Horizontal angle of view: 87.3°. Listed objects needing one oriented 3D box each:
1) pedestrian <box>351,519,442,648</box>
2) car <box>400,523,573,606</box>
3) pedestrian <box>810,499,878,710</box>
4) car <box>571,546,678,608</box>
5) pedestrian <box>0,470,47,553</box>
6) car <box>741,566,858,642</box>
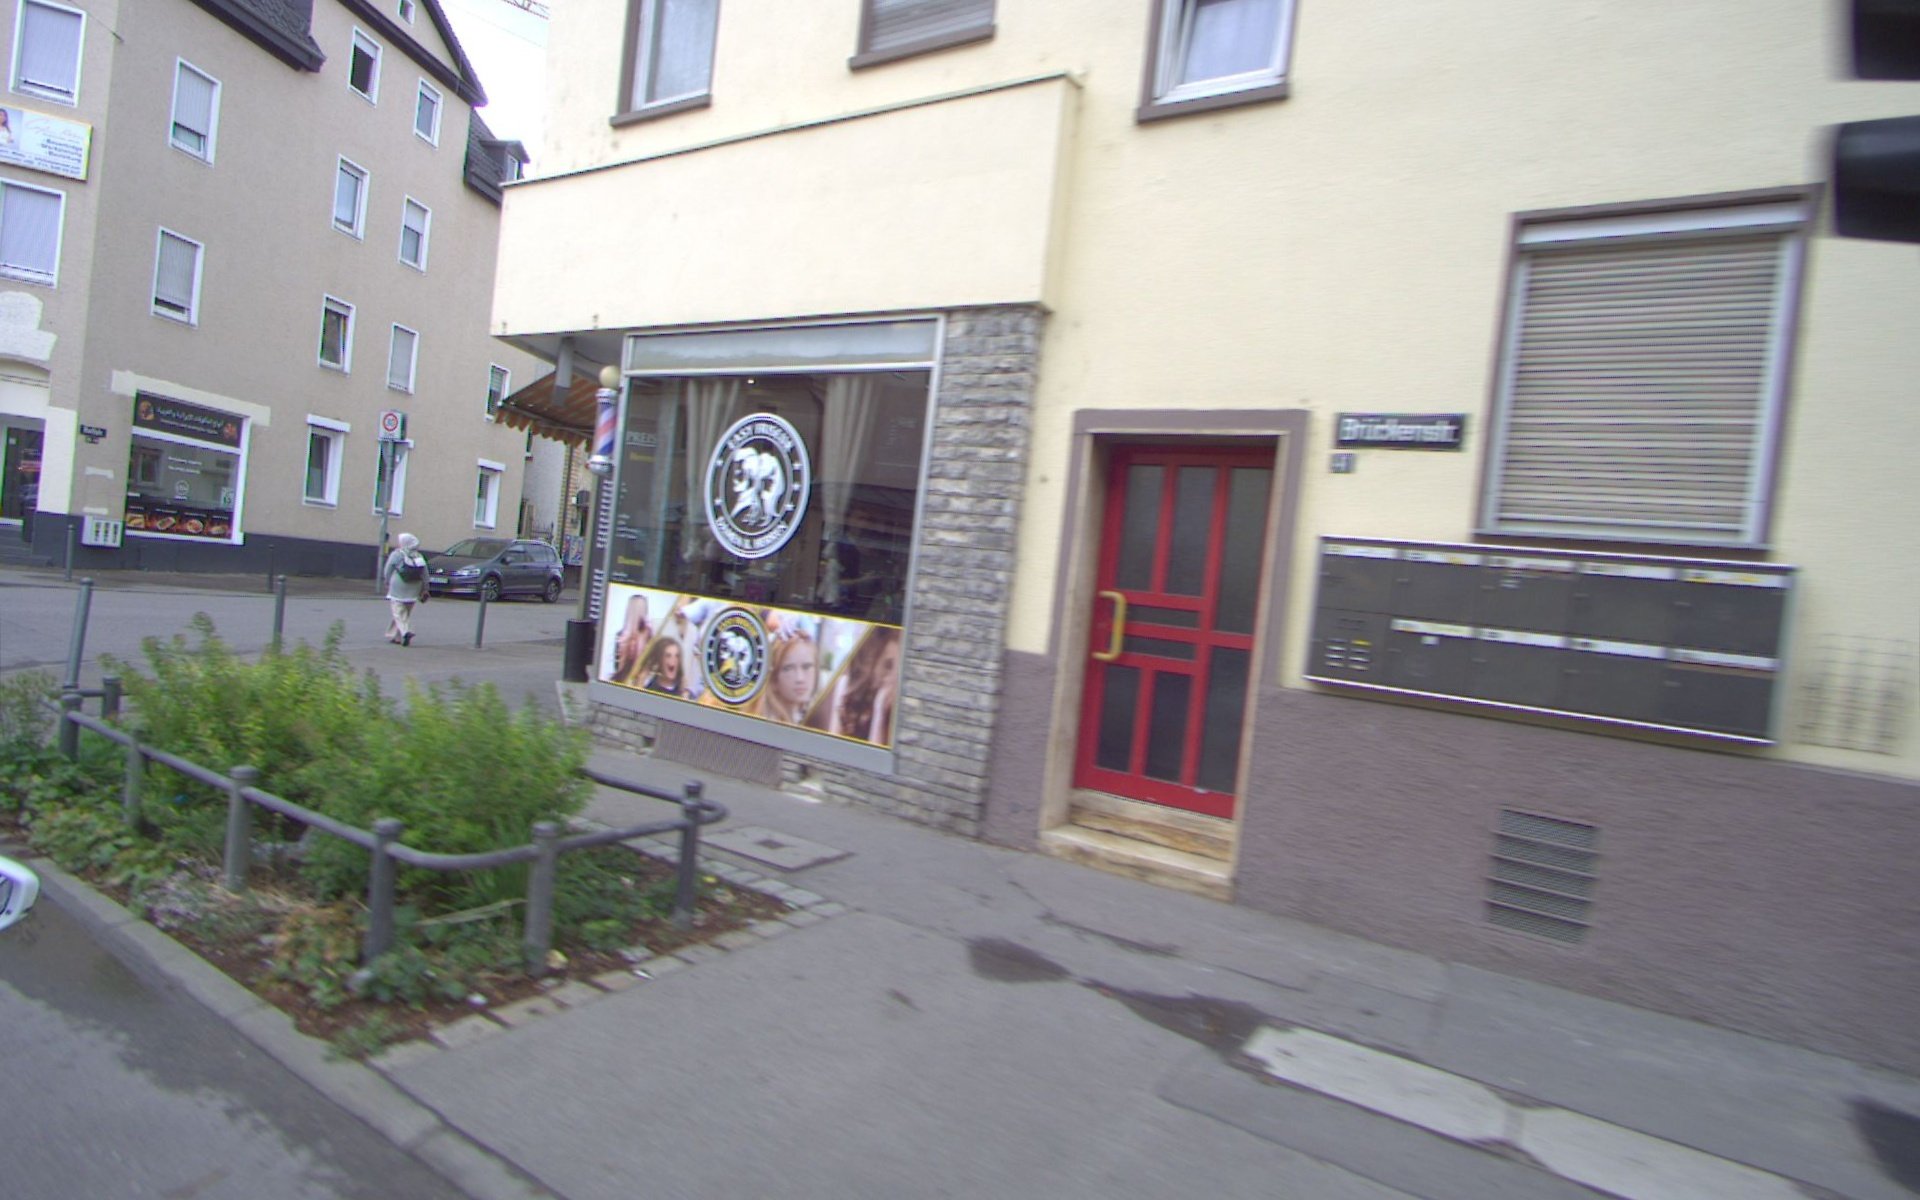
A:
[{"bbox_3d":[-7.881,-0.221,14.097,0.786,1.685,0.675,5,1,-5],"label":"pedestrian"},{"bbox_3d":[-12.130,-0.837,26.124,1.850,1.640,4.238,6,-2,10],"label":"car"},{"bbox_3d":[-1.021,0.042,8.917,0.380,1.796,0.396,6,0,-2],"label":"pedestrian"},{"bbox_3d":[-11.159,-0.712,33.765,1.631,1.640,4.237,6,-2,6],"label":"car"},{"bbox_3d":[-18.916,-1.780,20.245,0.512,1.579,0.568,6,0,31],"label":"pedestrian"},{"bbox_3d":[-4.333,0.128,27.906,1.741,1.702,4.234,9,1,10],"label":"car"}]
